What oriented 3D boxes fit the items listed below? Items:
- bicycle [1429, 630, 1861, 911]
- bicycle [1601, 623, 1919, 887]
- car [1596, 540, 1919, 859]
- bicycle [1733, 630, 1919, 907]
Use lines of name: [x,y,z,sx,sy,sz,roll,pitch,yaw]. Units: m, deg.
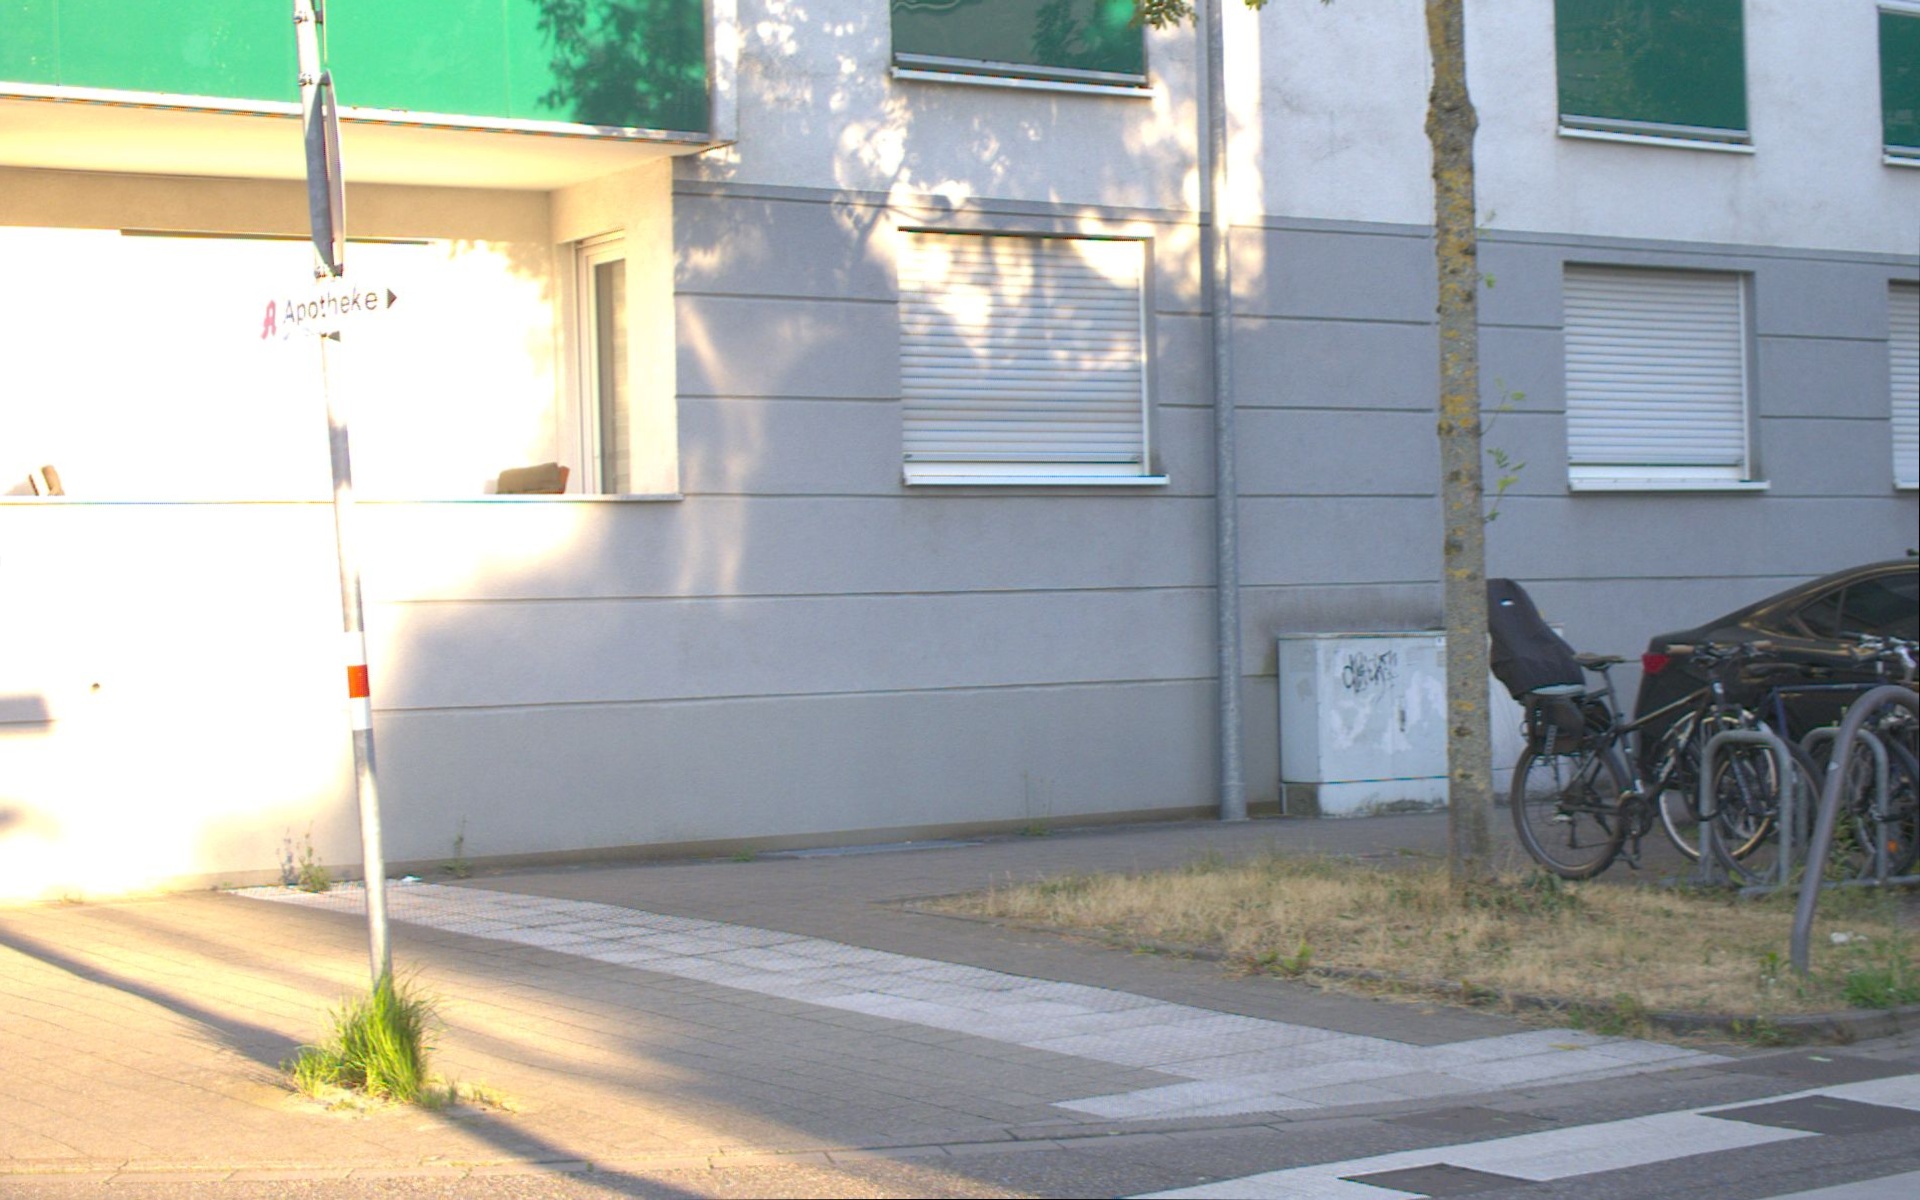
bicycle: [2.813,0.674,14.284,0.565,1.038,1.793,0,1,-39]
bicycle: [3.732,0.651,14.896,0.472,1.042,2.035,0,1,-39]
car: [5.429,0.475,16.169,1.931,1.452,4.891,0,2,-33]
bicycle: [3.990,0.683,13.749,0.472,1.068,1.840,0,1,-39]
